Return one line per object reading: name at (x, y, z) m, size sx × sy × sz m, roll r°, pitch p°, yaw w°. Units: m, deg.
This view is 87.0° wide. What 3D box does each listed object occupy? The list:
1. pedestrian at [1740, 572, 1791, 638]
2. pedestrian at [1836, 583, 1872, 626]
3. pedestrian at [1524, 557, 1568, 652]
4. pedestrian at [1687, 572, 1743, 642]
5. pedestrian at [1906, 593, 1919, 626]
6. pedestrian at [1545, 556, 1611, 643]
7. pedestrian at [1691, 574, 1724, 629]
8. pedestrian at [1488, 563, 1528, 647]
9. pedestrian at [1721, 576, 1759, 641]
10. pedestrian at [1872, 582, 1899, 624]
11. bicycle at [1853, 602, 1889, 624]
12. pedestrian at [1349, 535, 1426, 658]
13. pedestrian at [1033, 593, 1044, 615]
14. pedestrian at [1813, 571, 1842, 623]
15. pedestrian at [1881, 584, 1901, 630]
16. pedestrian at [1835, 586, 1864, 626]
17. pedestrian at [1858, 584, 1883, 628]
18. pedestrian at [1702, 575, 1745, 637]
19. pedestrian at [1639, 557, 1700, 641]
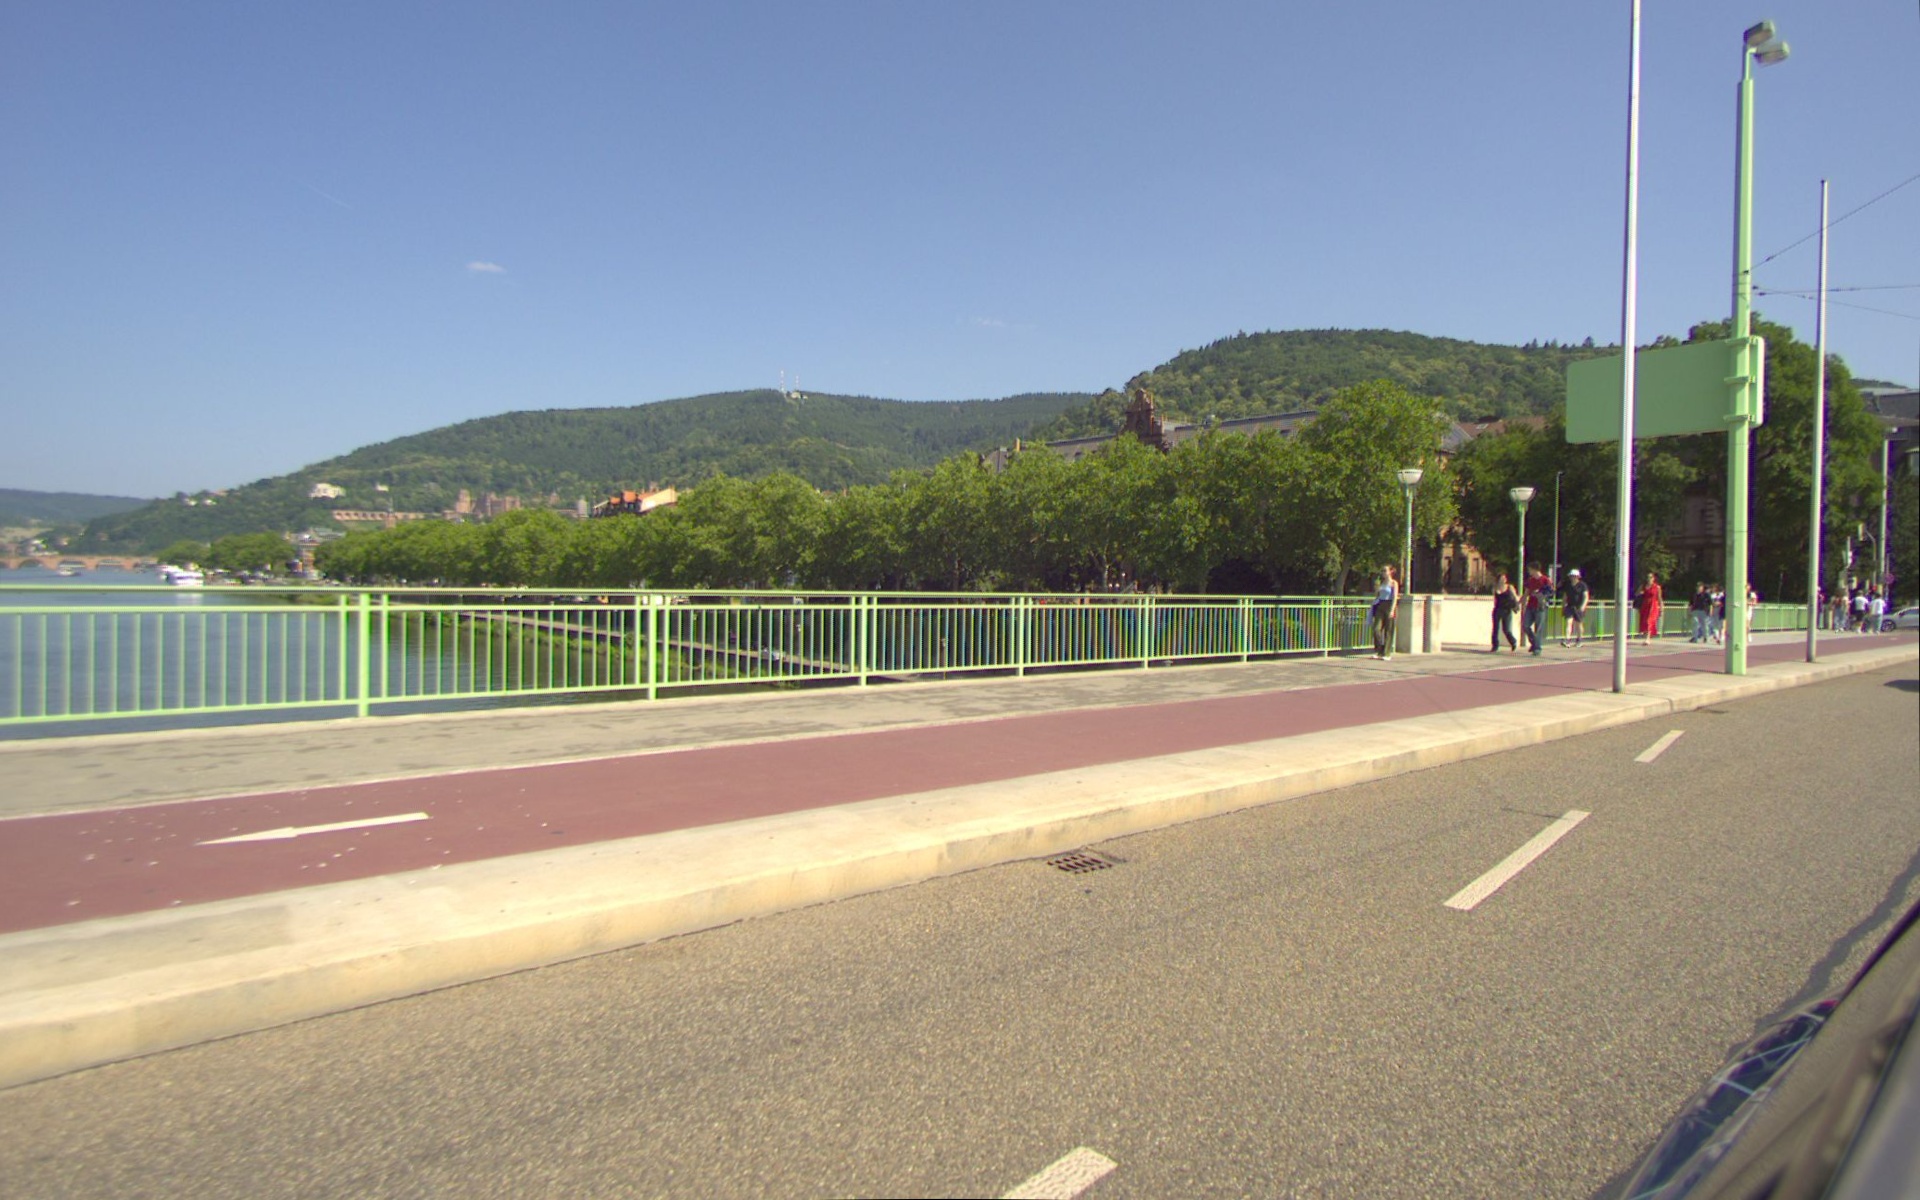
pedestrian at (22.238, 0.112, 27.928) m, size 0.985 × 1.772 × 0.915 m, roll 2°, pitch 2°, yaw 45°
pedestrian at (35.064, 0.161, 39.687) m, size 0.985 × 1.635 × 0.907 m, roll 2°, pitch 2°, yaw 45°
pedestrian at (11.514, 0.079, 19.883) m, size 0.622 × 1.816 × 0.586 m, roll 0°, pitch 1°, yaw -44°
pedestrian at (20.191, 0.165, 27.050) m, size 0.985 × 1.791 × 1.234 m, roll 3°, pitch 2°, yaw 45°
pedestrian at (60.142, 0.573, 63.717) m, size 1.042 × 2.038 × 0.775 m, roll 0°, pitch 2°, yaw -44°
pedestrian at (14.180, -0.037, 23.201) m, size 0.985 × 1.918 × 1.234 m, roll 3°, pitch 3°, yaw 45°
pedestrian at (22.660, 0.039, 30.688) m, size 0.679 × 1.652 × 0.651 m, roll 1°, pitch 0°, yaw -39°
pedestrian at (11.109, 0.090, 20.504) m, size 0.523 × 1.670 × 0.688 m, roll 1°, pitch 1°, yaw 45°
pedestrian at (20.436, 0.206, 26.518) m, size 0.854 × 1.670 × 0.654 m, roll 0°, pitch 1°, yaw -44°
pedestrian at (42.156, 0.129, 46.105) m, size 0.632 × 1.879 × 0.776 m, roll 1°, pitch 0°, yaw -36°
bicycle at (58.134, 0.796, 64.555) m, size 2.228 × 1.219 × 0.805 m, roll -3°, pitch 5°, yaw -23°
pedestrian at (7.386, -0.076, 17.472) m, size 0.874 × 2.039 × 1.042 m, roll 2°, pitch 1°, yaw 45°
pedestrian at (6.741, 0.339, 87.013) m, size 0.666 × 1.798 × 0.740 m, roll 1°, pitch -1°, yaw -45°
pedestrian at (34.491, -0.132, 40.231) m, size 0.803 × 2.039 × 0.939 m, roll 2°, pitch 1°, yaw 45°
pedestrian at (37.303, 0.255, 40.560) m, size 0.549 × 1.821 × 0.635 m, roll 1°, pitch 1°, yaw 45°
pedestrian at (37.442, 0.233, 42.605) m, size 0.933 × 1.655 × 0.800 m, roll 0°, pitch 1°, yaw -42°
pedestrian at (36.608, 0.230, 40.688) m, size 0.696 × 1.738 × 0.720 m, roll 2°, pitch 1°, yaw 45°
pedestrian at (21.548, 0.156, 28.571) m, size 0.834 × 1.697 × 0.871 m, roll 2°, pitch 1°, yaw 45°
pedestrian at (17.252, -0.039, 24.614) m, size 0.923 × 1.978 × 1.017 m, roll 0°, pitch 1°, yaw -41°
